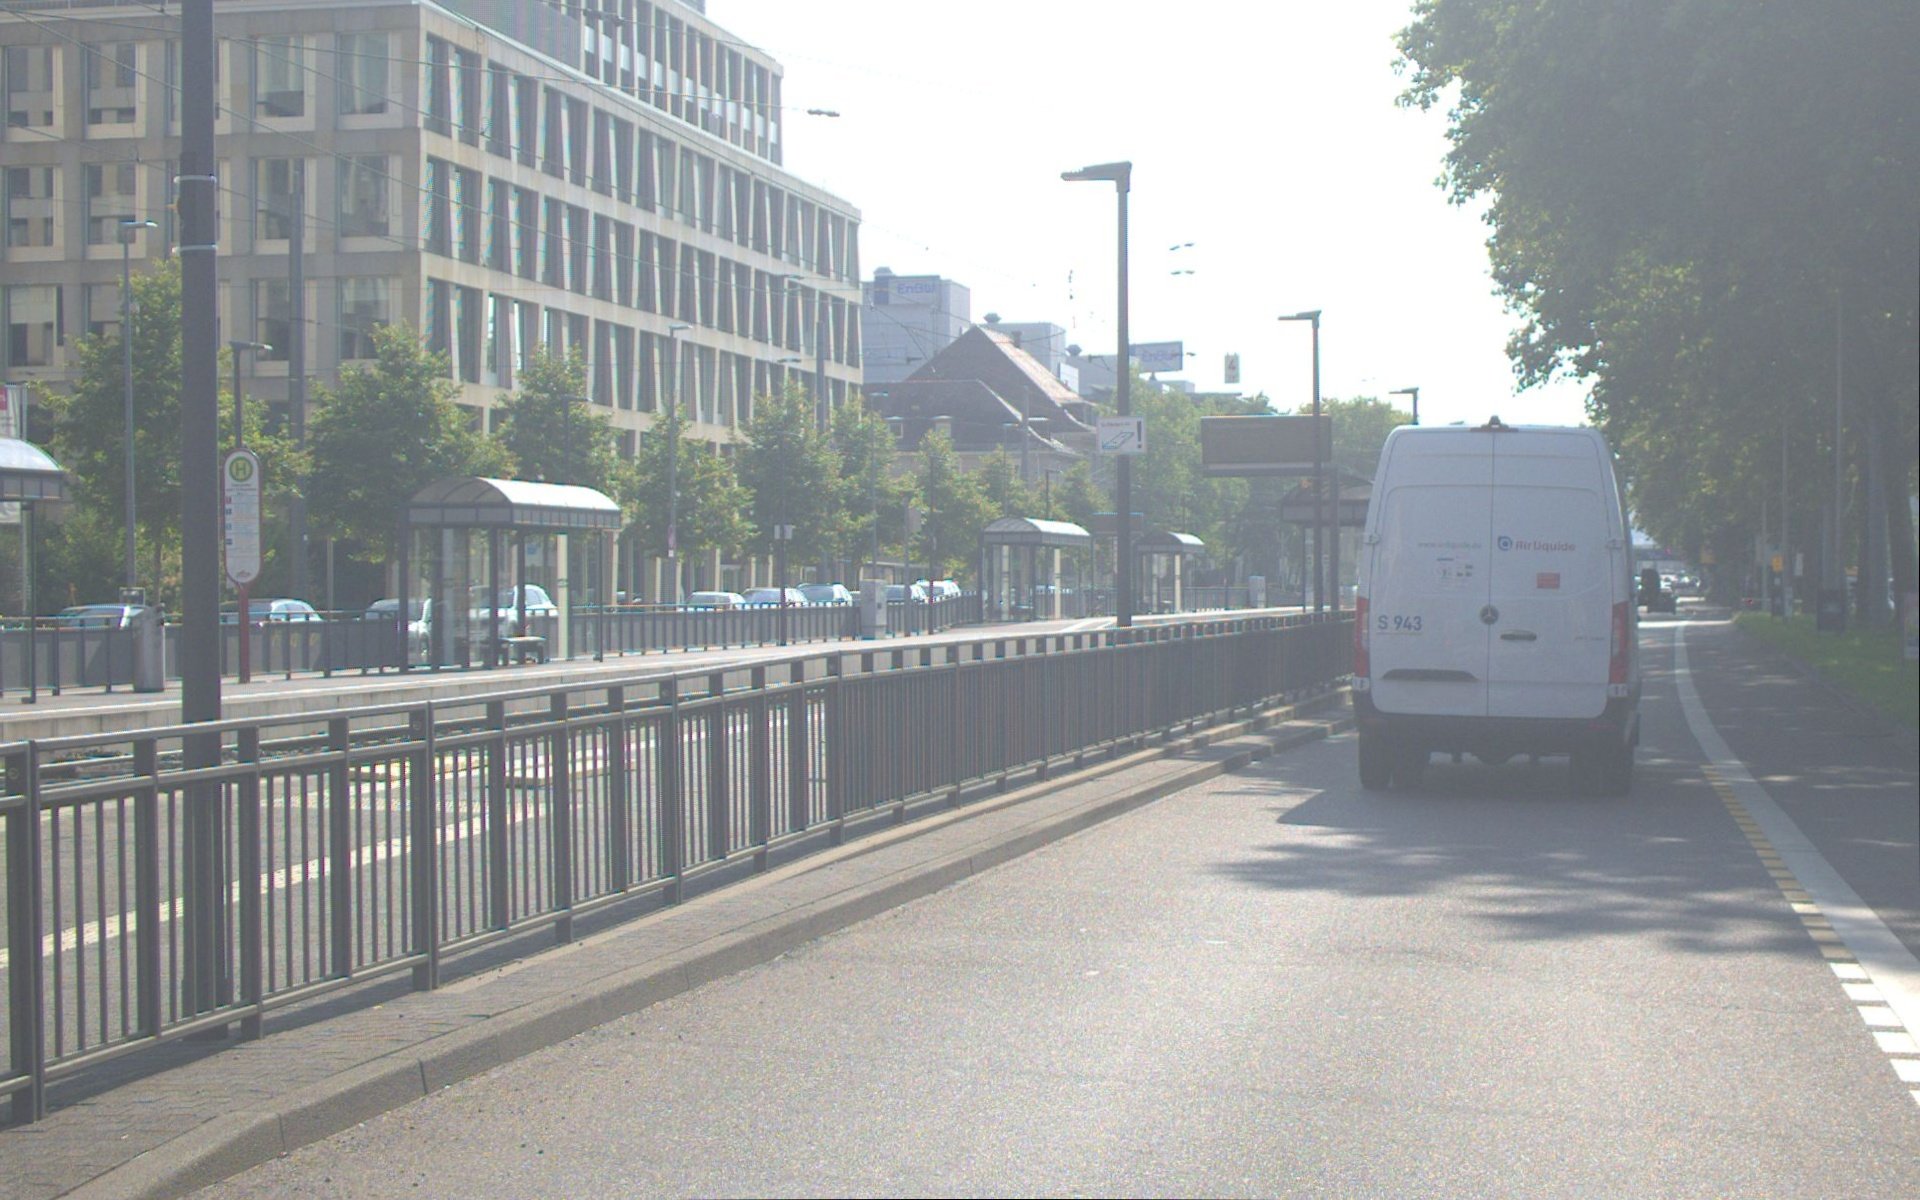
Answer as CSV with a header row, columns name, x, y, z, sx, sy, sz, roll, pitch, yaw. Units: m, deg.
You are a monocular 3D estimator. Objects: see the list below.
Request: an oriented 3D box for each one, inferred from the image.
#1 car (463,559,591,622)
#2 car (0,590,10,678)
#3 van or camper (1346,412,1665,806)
name,x,y,z,sx,sy,sz,roll,pitch,yaw
car,-9.969,-0.222,79.471,1.684,1.402,4.369,0,0,11
car,-16.348,0.558,52.953,1.684,1.402,4.080,0,0,11
van or camper,4.174,0.040,26.364,2.116,2.673,5.248,1,0,9
